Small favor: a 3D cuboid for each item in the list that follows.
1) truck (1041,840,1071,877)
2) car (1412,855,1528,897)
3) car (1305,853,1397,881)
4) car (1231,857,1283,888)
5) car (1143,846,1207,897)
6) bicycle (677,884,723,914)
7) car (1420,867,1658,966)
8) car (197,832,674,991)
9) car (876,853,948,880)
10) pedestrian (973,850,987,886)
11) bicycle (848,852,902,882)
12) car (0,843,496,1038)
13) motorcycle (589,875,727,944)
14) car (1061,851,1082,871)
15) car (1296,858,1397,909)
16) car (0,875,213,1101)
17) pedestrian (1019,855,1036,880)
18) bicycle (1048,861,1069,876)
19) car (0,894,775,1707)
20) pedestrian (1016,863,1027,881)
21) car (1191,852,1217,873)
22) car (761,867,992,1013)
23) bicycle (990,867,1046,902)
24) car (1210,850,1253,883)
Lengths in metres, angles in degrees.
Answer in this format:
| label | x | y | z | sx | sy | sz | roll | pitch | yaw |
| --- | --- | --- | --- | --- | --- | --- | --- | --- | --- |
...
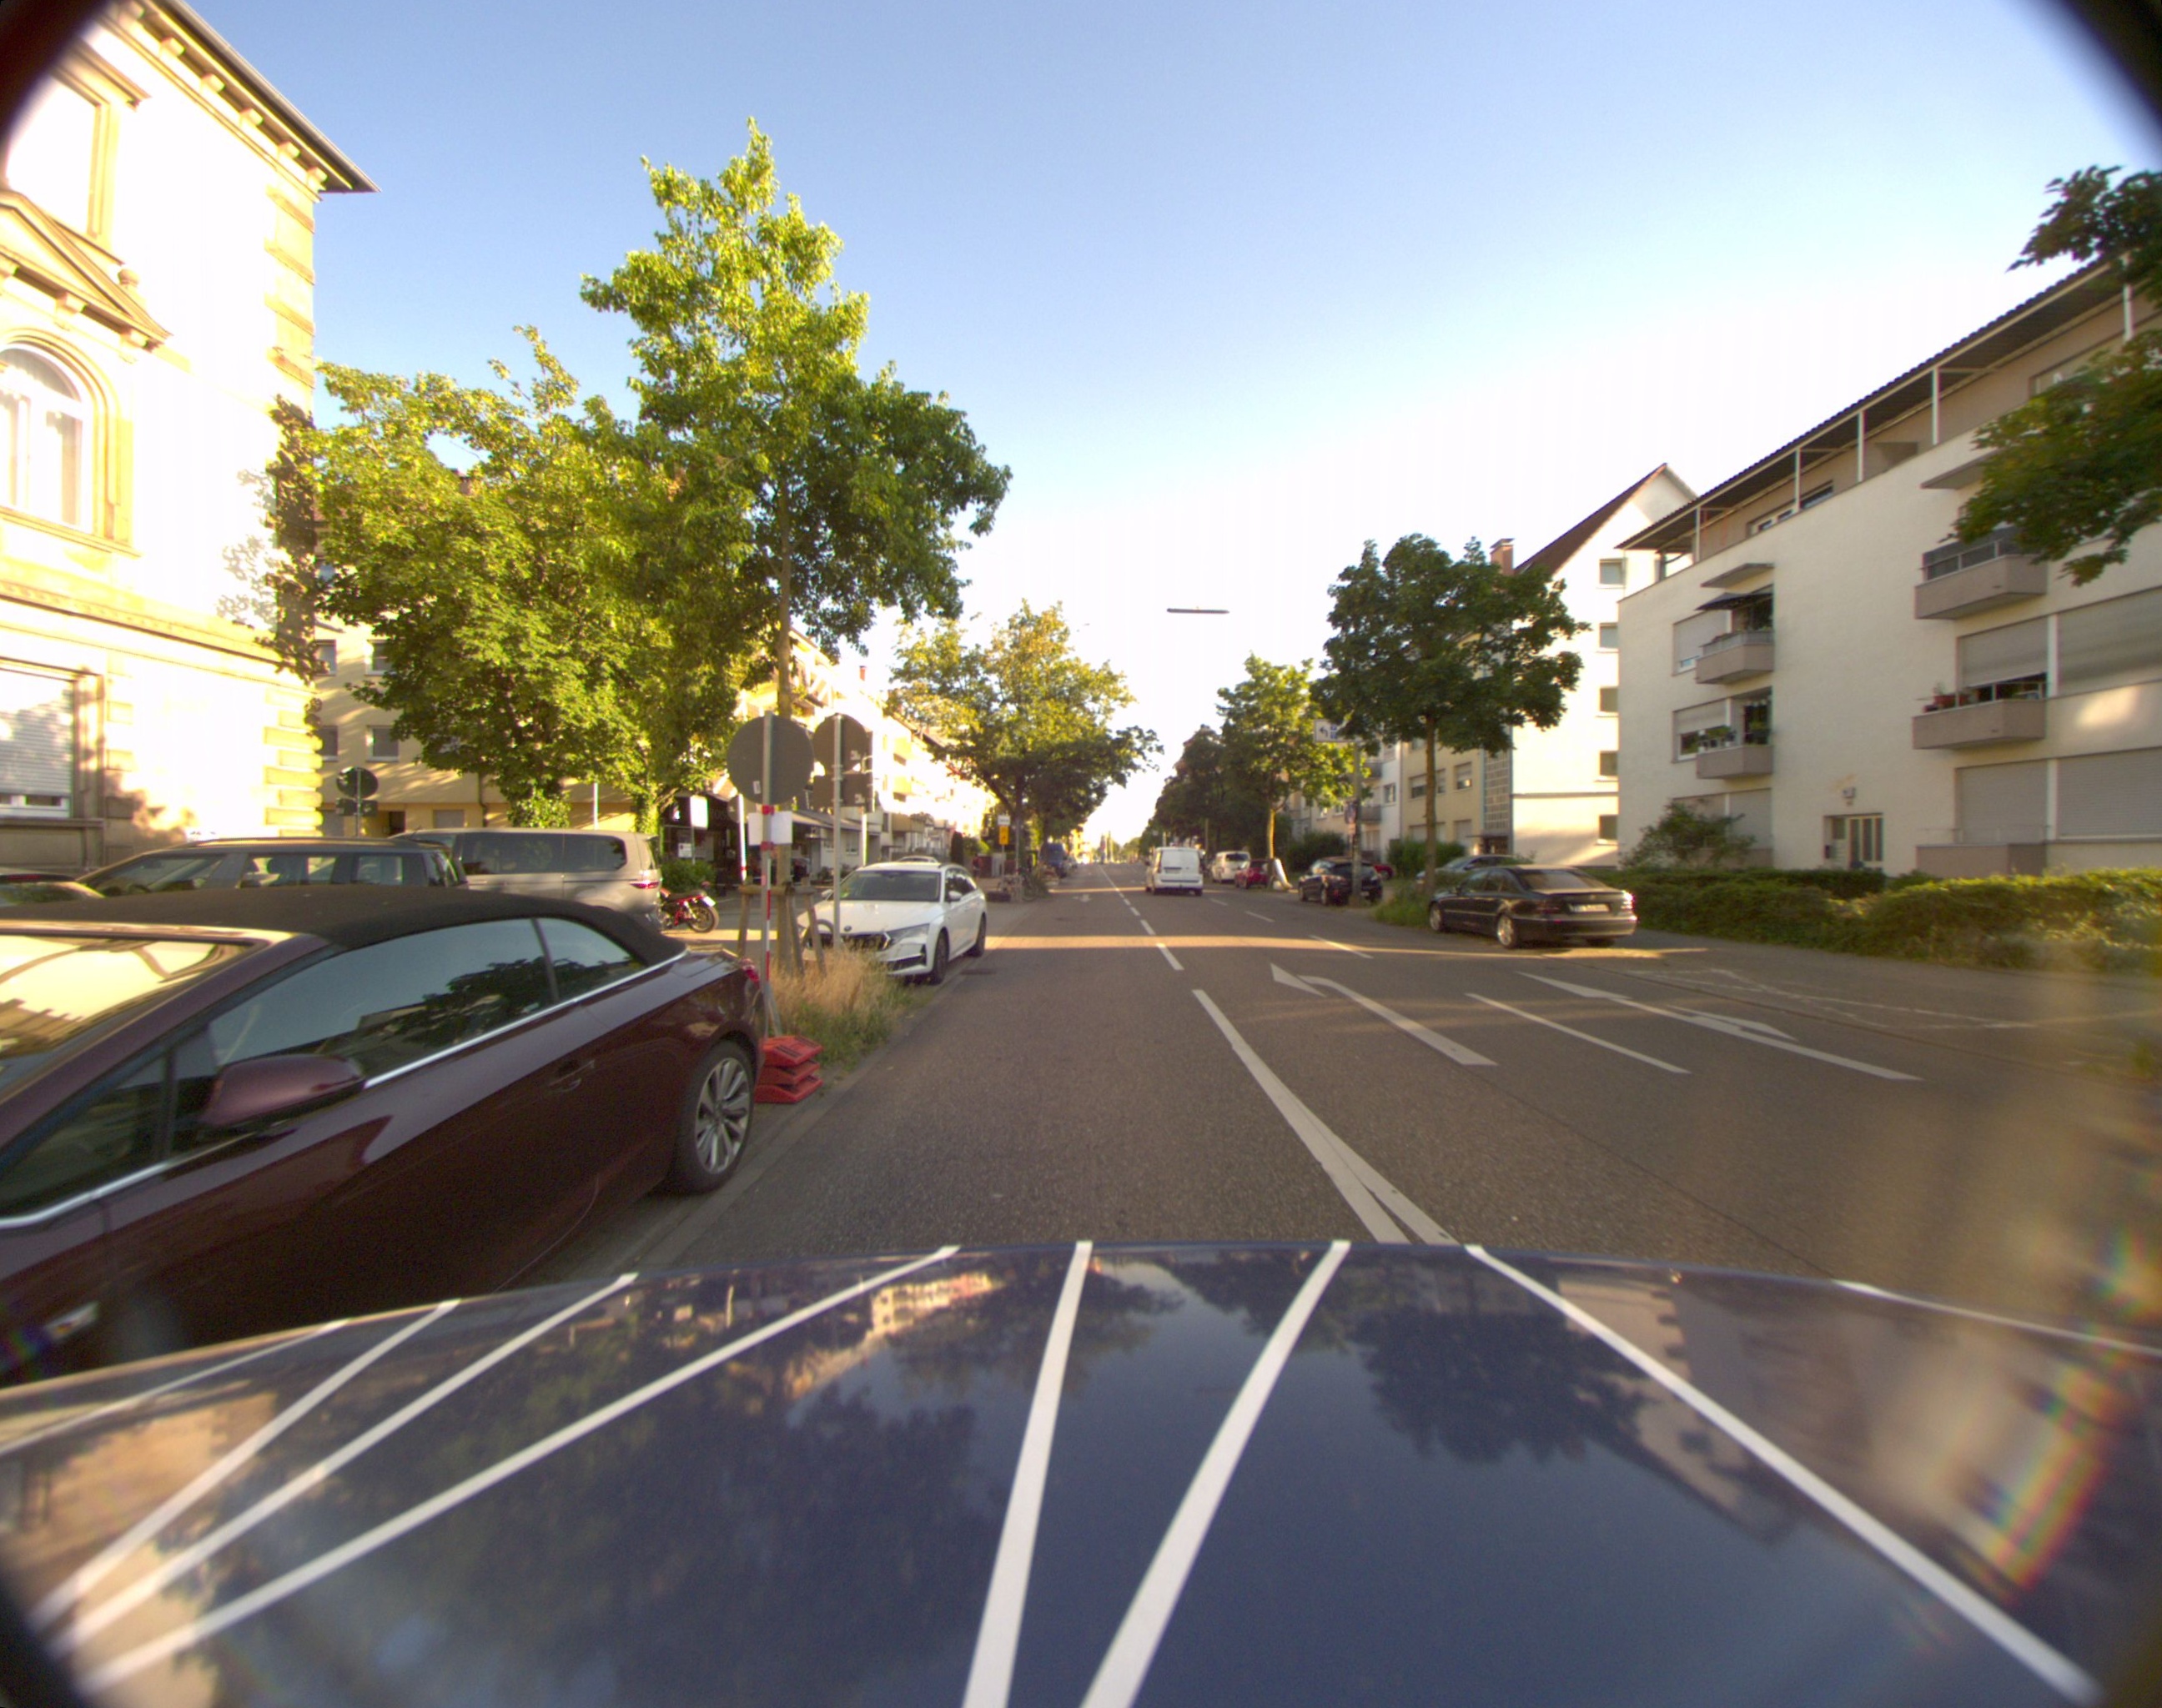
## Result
| label | x | y | z | sx | sy | sz | roll | pitch | yaw |
| --- | --- | --- | --- | --- | --- | --- | --- | --- | --- |
| truck | -1.813 | 0.318 | 56.929 | 1.998 | 2.629 | 5.616 | 0 | 0 | 1 |
| car | 14.388 | 0.784 | 28.237 | 3.467 | 1.515 | 1.686 | 0 | 0 | 2 |
| car | 15.039 | 0.704 | 42.426 | 4.563 | 1.397 | 1.739 | -2 | 1 | -9 |
| car | 8.579 | 0.872 | 37.246 | 1.740 | 1.455 | 3.636 | 0 | 0 | 1 |
| car | 3.587 | 0.639 | 29.808 | 1.893 | 1.793 | 4.430 | 2 | 0 | -1 |
| bicycle | -10.844 | 1.267 | 21.664 | 0.486 | 0.763 | 1.531 | 0 | 0 | 2 |
| car | 7.915 | 0.983 | 13.707 | 1.641 | 1.399 | 4.444 | 0 | 0 | 0 |
| car | -8.724 | 0.670 | 11.013 | 4.946 | 1.888 | 1.916 | 0 | 0 | -28 |
| car | -9.698 | 0.725 | 43.845 | 3.878 | 1.496 | 1.575 | 0 | 0 | -4 |
| pedestrian | -5.032 | 0.698 | 38.001 | 0.619 | 1.761 | 0.562 | 0 | 0 | 2 |
| bicycle | -10.203 | 0.645 | 37.710 | 2.459 | 1.433 | 0.928 | 0 | 1 | -1 |
| car | -8.840 | 0.756 | 7.924 | 4.106 | 1.689 | 1.783 | 0 | 0 | -29 |
| motorcycle | -8.079 | 1.034 | 14.616 | 2.163 | 1.232 | 0.789 | 0 | 1 | -9 |
| car | -0.801 | 0.632 | 68.213 | 1.704 | 1.739 | 4.000 | 0 | 0 | 2 |
| car | 8.420 | 0.885 | 24.498 | 1.862 | 1.477 | 4.000 | 0 | 0 | 0 |
| car | -9.204 | 0.869 | 5.091 | 4.105 | 1.432 | 1.713 | 2 | 0 | -22 |
| pedestrian | -3.081 | 0.790 | 44.007 | 0.917 | 1.435 | 0.811 | 0 | 1 | -1 |
| bicycle | -1.560 | 1.007 | 53.382 | 1.469 | 1.058 | 0.445 | 0 | 1 | 1 |
| car | -2.678 | 0.970 | 2.067 | 1.761 | 1.412 | 4.614 | 2 | 0 | 0 |
| pedestrian | -3.558 | 1.070 | 45.303 | 0.553 | 1.053 | 0.532 | 0 | 1 | 2 |
| car | 8.902 | 0.582 | 55.151 | 1.407 | 1.397 | 3.683 | -2 | 1 | 2 |
| car | -2.461 | 0.957 | 10.440 | 1.825 | 1.469 | 4.621 | 0 | 0 | 1 |
| bicycle | -2.220 | 1.060 | 26.731 | 1.894 | 1.155 | 0.616 | 2 | 1 | 28 |
| car | 8.702 | 0.693 | 44.188 | 1.740 | 1.799 | 4.192 | 0 | 0 | 1 |
